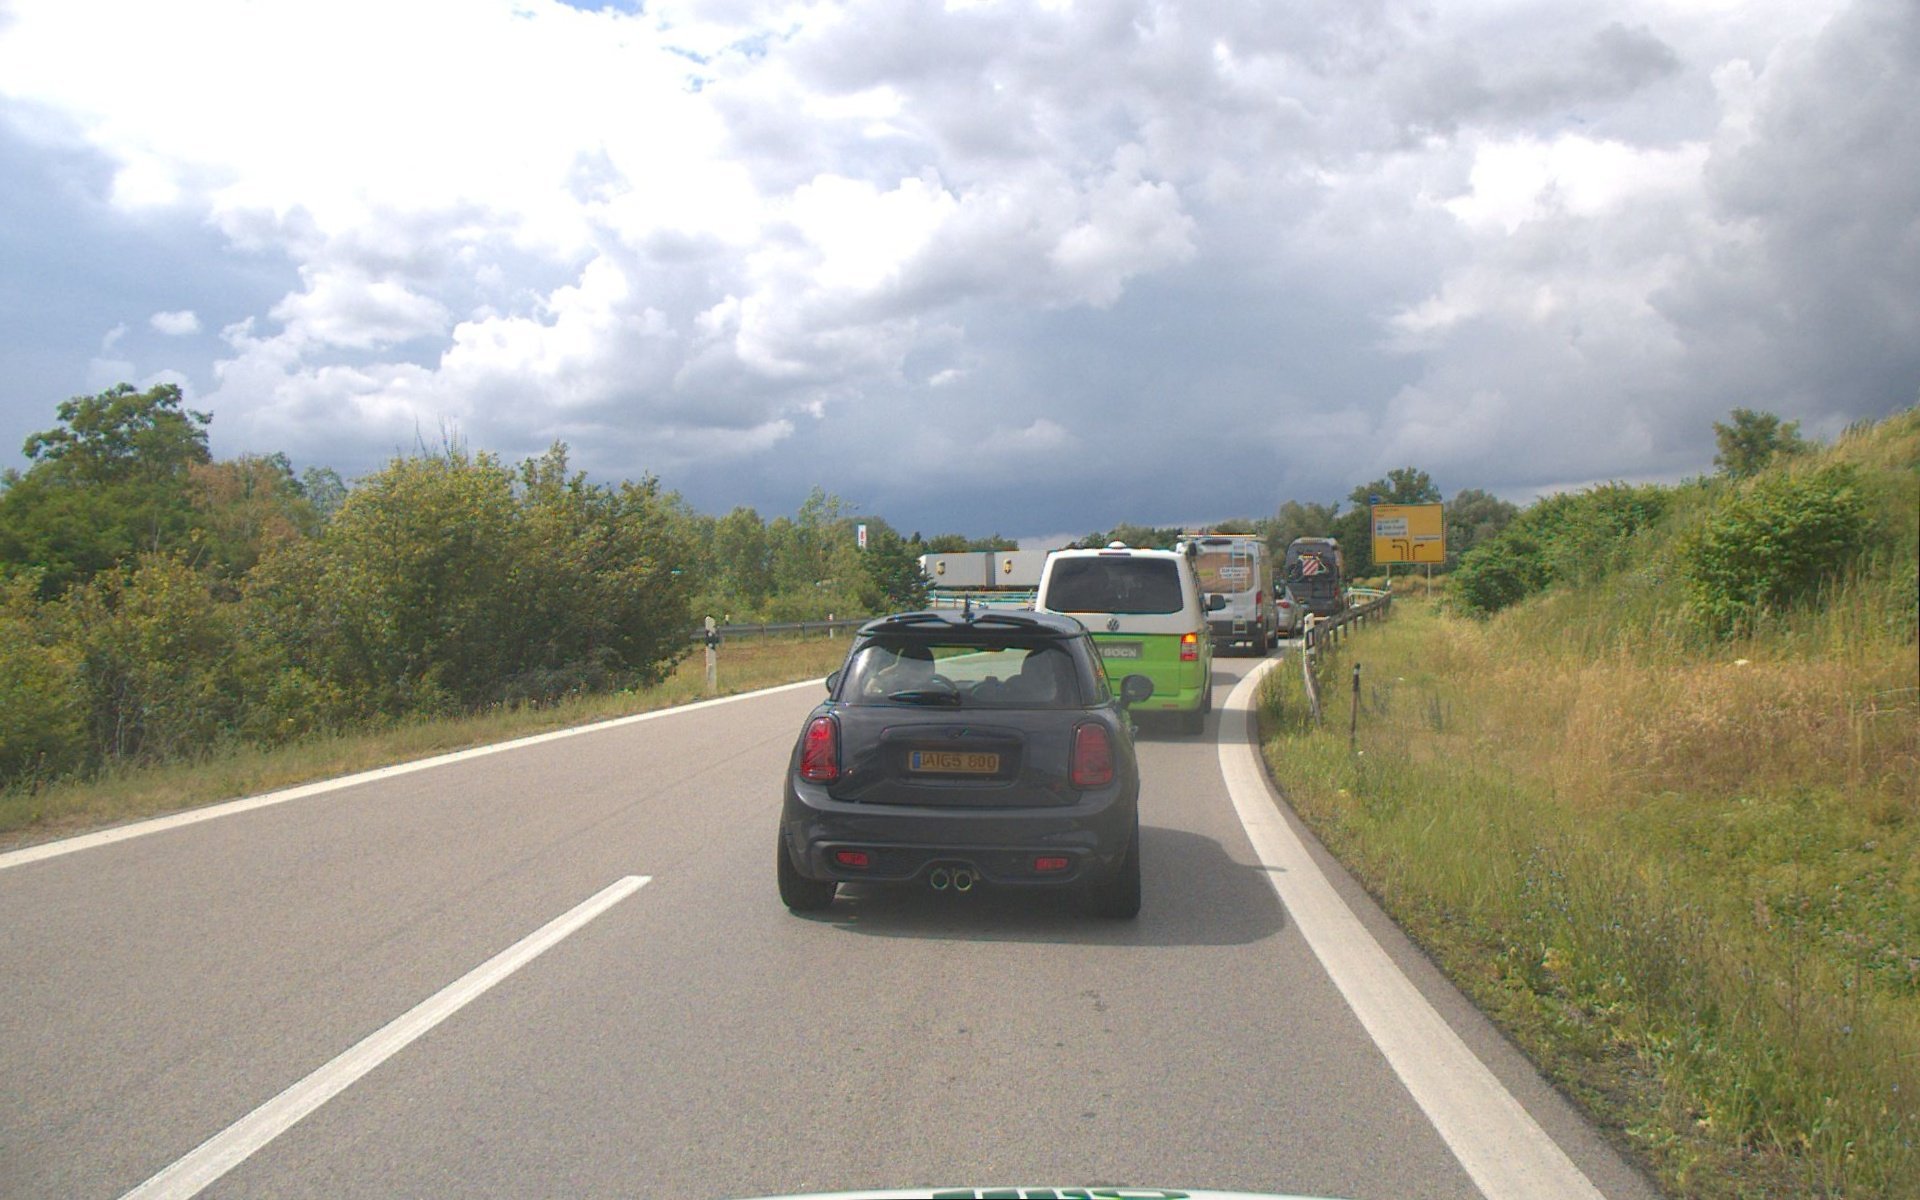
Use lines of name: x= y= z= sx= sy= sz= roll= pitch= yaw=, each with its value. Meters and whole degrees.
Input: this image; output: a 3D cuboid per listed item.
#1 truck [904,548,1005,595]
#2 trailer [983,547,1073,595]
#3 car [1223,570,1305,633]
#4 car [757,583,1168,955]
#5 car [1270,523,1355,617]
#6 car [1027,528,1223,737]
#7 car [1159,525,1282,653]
truck: x=-0.574 y=-2.539 z=148.635 sx=9.856 sy=4.045 sz=2.827 roll=1 pitch=0 yaw=43
trailer: x=5.756 y=-2.467 z=141.895 sx=3.012 sy=3.966 sz=8.662 roll=1 pitch=0 yaw=-36
car: x=8.587 y=0.061 z=46.513 sx=1.951 sy=1.671 sz=3.931 roll=1 pitch=0 yaw=15
car: x=0.168 y=0.705 z=8.977 sx=1.761 sy=1.573 sz=3.741 roll=0 pitch=0 yaw=5
car: x=12.567 y=-0.980 z=58.640 sx=2.262 sy=3.122 sz=6.665 roll=1 pitch=0 yaw=18
car: x=1.983 y=0.319 z=18.757 sx=1.870 sy=2.081 sz=4.185 roll=0 pitch=0 yaw=10
car: x=5.984 y=-0.222 z=37.378 sx=2.165 sy=2.668 sz=5.538 roll=1 pitch=0 yaw=15
